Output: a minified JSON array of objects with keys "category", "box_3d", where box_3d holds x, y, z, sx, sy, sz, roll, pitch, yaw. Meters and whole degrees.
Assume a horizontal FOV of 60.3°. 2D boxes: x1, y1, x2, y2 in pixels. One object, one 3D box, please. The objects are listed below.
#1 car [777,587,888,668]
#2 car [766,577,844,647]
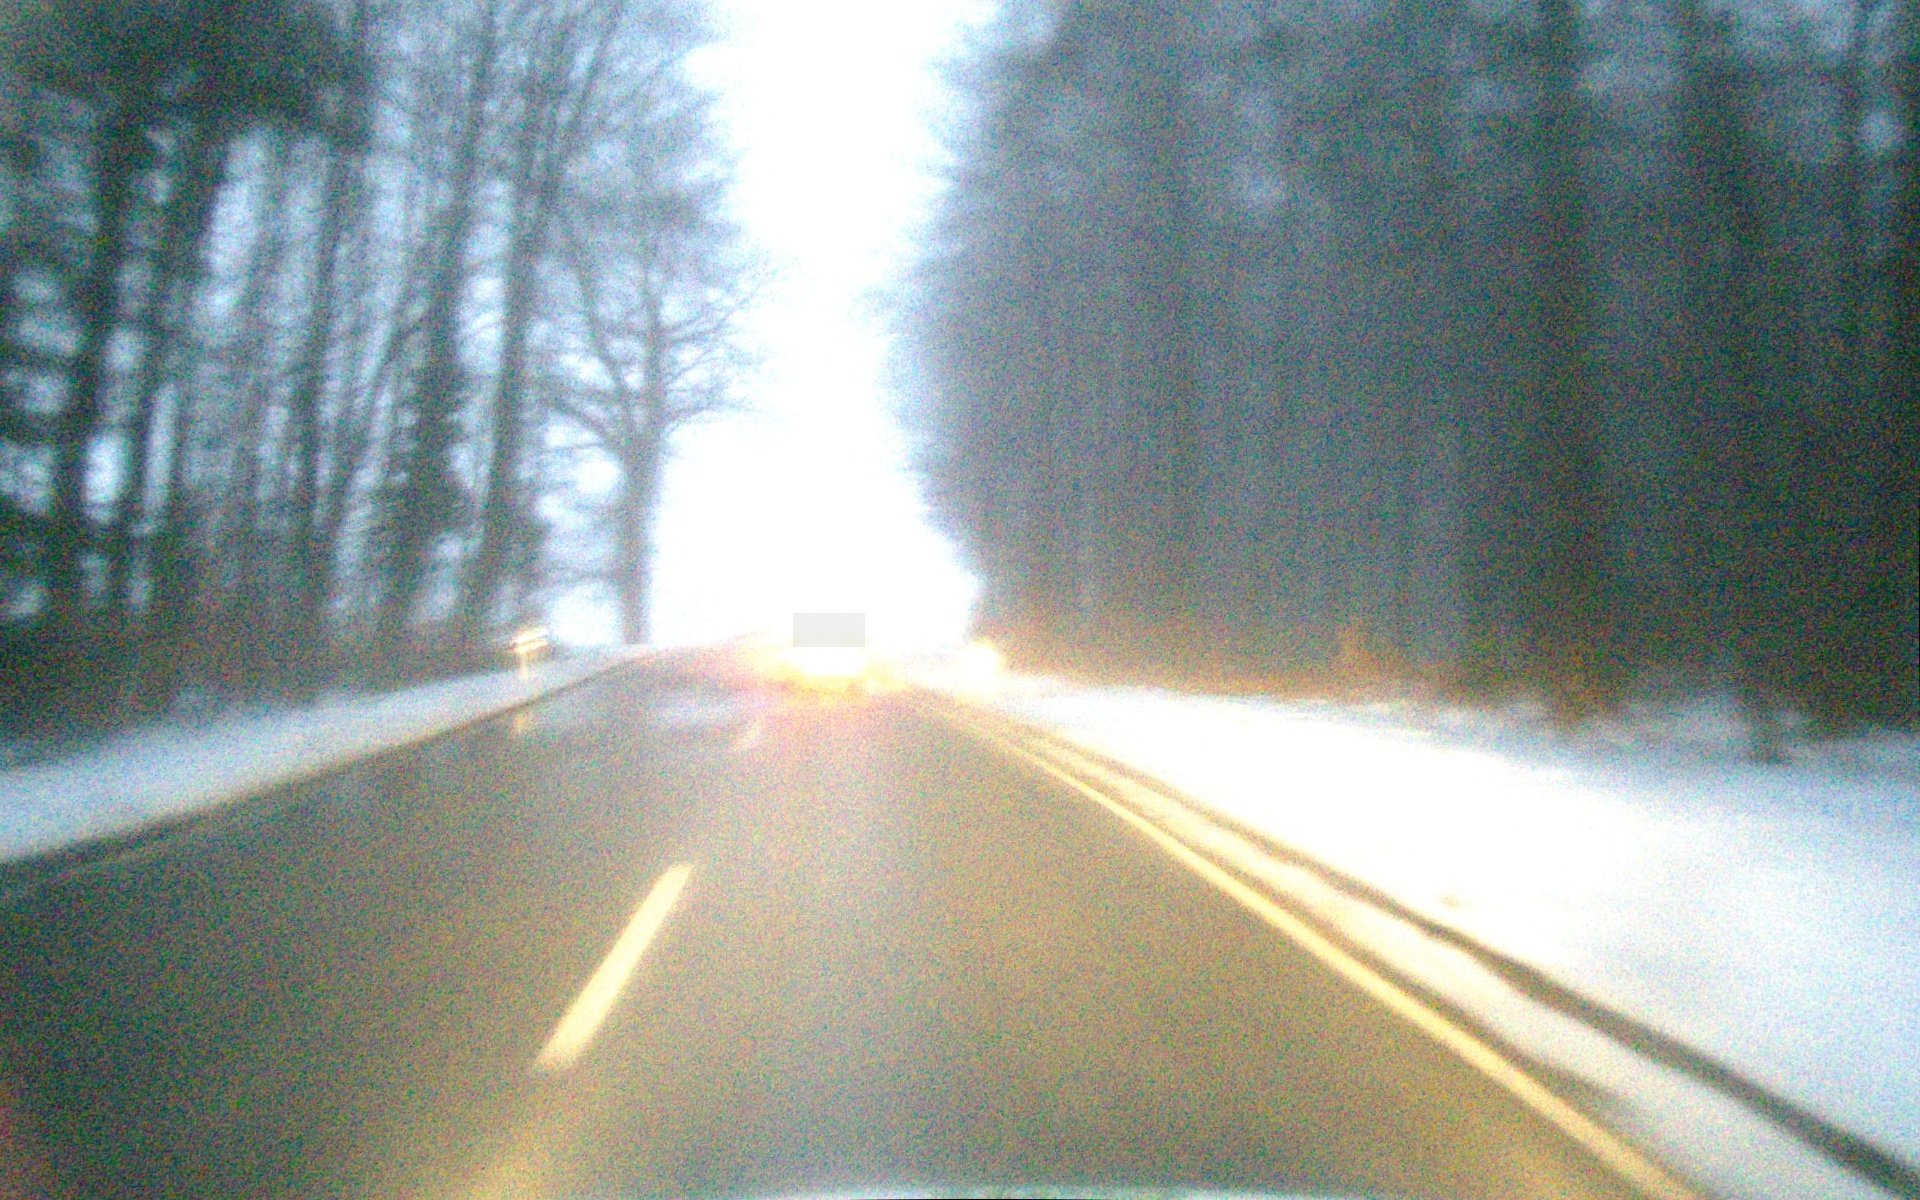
[{"category":"car","box_3d":[-2.562,0.500,32.430,1.909,1.405,3.993,3,0,-8]},{"category":"car","box_3d":[-4.587,0.346,48.514,1.957,1.814,3.993,4,-1,-8]}]
